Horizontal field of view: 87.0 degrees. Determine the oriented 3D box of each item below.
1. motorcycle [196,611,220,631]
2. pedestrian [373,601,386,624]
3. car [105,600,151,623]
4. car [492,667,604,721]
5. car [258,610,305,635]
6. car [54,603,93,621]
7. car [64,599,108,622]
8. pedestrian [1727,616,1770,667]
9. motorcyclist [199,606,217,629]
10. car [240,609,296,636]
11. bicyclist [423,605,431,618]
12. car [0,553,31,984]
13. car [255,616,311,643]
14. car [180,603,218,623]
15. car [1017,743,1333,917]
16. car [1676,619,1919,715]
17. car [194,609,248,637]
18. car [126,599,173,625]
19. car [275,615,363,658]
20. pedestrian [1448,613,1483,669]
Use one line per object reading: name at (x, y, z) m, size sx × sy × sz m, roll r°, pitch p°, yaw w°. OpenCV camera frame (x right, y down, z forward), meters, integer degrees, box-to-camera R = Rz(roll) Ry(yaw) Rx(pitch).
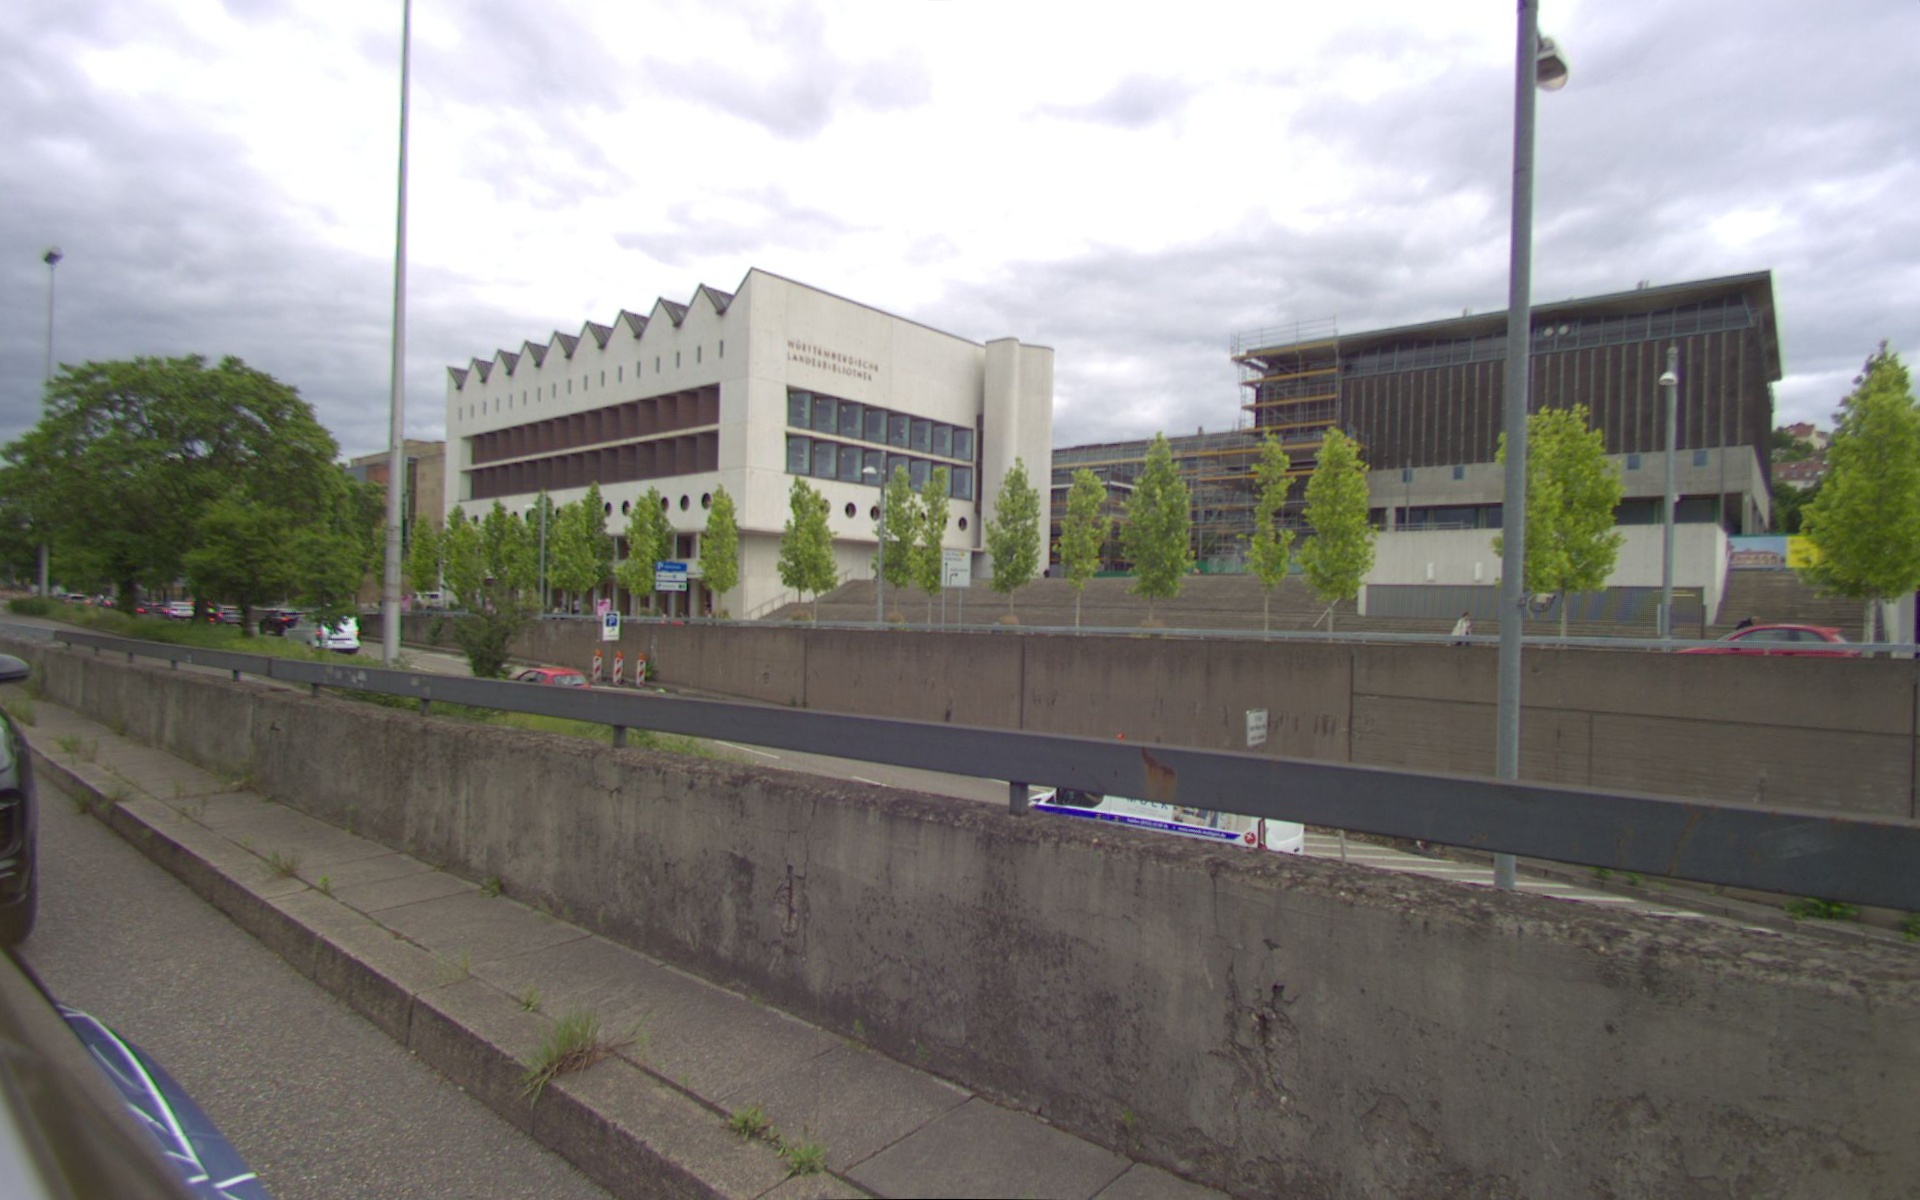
motorcycle at (-46.775, 1.291, 62.939) m, size 2.050 × 1.106 × 0.678 m, roll 3°, pitch -2°, yaw 41°
pedestrian at (-52.025, 1.112, 90.650) m, size 1.016 × 2.029 × 0.712 m, roll 1°, pitch 1°, yaw 42°
car at (-72.423, 0.989, 88.075) m, size 4.514 × 1.657 × 2.133 m, roll 2°, pitch -2°, yaw 40°
car at (-13.903, 3.109, 34.041) m, size 3.999 × 1.497 × 1.972 m, roll -1°, pitch -2°, yaw 42°
car at (-52.569, 1.757, 78.436) m, size 3.998 × 1.776 × 1.973 m, roll 0°, pitch -3°, yaw 41°
car at (-76.422, 0.997, 87.218) m, size 3.998 × 1.409 × 1.973 m, roll 0°, pitch -4°, yaw 41°
car at (-69.408, 0.835, 80.357) m, size 4.515 × 1.687 × 1.973 m, roll 0°, pitch -4°, yaw 41°
pedestrian at (26.055, 1.363, 33.461) m, size 0.728 × 1.655 × 0.795 m, roll 0°, pitch -2°, yaw -21°
motorcyclist at (-46.800, 1.085, 62.980) m, size 0.718 × 1.362 × 0.662 m, roll 3°, pitch -3°, yaw 41°
car at (-44.659, 1.442, 65.310) m, size 4.141 × 1.500 × 1.758 m, roll 3°, pitch 0°, yaw 38°
bicyclist at (-46.719, 0.990, 88.732) m, size 0.643 × 1.169 × 0.398 m, roll 1°, pitch 1°, yaw 39°
car at (-5.862, 0.619, 4.768) m, size 4.733 × 1.602 × 1.879 m, roll 0°, pitch 0°, yaw 44°
car at (-41.445, 1.823, 61.949) m, size 4.003 × 1.338 × 1.787 m, roll 4°, pitch 0°, yaw 40°
car at (-71.168, 1.223, 94.630) m, size 3.998 × 1.776 × 1.973 m, roll 0°, pitch -3°, yaw 41°
car at (3.679, 3.872, 17.993) m, size 5.115 × 2.029 × 2.194 m, roll -1°, pitch -2°, yaw 42°
car at (18.257, 1.352, 21.633) m, size 4.729 × 1.869 × 2.154 m, roll -1°, pitch -1°, yaw 38°
car at (-51.144, 1.571, 69.998) m, size 4.386 × 1.624 × 1.852 m, roll 4°, pitch 0°, yaw 38°
car at (-55.843, 0.805, 69.714) m, size 4.144 × 1.500 × 1.757 m, roll 3°, pitch 0°, yaw 40°
car at (-31.105, 1.735, 49.038) m, size 5.246 × 1.651 × 1.973 m, roll 2°, pitch -5°, yaw 40°
pedestrian at (18.383, 1.493, 36.830) m, size 0.728 × 2.029 × 0.795 m, roll 0°, pitch -2°, yaw -17°
